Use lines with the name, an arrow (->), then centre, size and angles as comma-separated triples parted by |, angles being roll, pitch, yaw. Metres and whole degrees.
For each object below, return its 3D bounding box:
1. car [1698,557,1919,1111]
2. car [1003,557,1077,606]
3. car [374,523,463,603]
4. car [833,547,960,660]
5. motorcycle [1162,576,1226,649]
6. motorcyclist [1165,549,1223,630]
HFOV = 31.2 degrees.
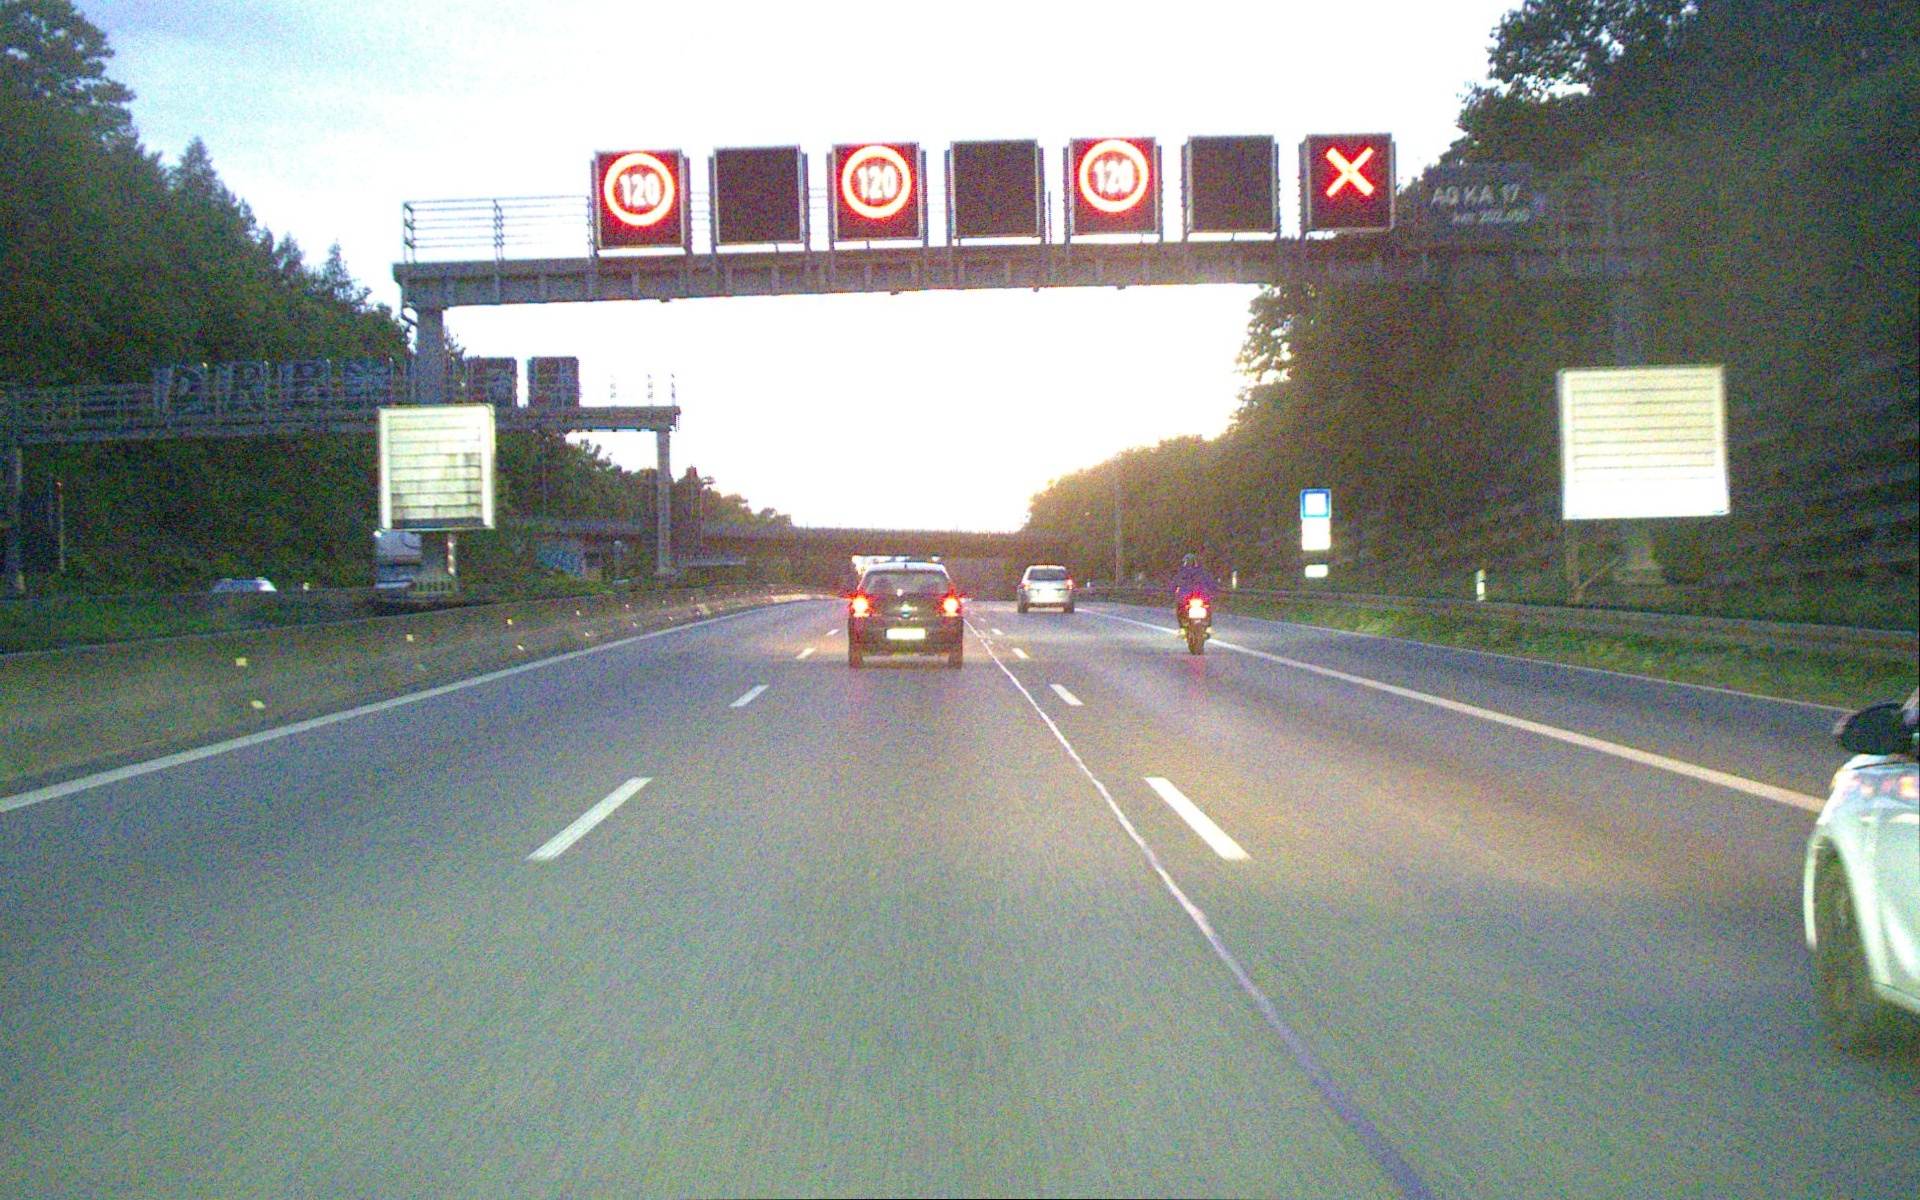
car -> 3.468, 0.624, 9.503 | 1.825, 1.470, 4.399 | 0, 1, -1
car -> 2.522, -0.585, 109.227 | 1.865, 1.489, 4.399 | 1, 0, -5
car -> -20.288, -1.375, 129.100 | 1.982, 2.871, 7.834 | -1, 0, 1
car -> -0.881, 0.047, 48.965 | 1.704, 1.504, 4.232 | 1, 0, 0
motorcycle -> 3.743, 0.192, 55.117 | 0.829, 1.130, 2.476 | 0, 1, -1
motorcyclist -> 3.742, -0.169, 55.046 | 0.829, 1.287, 1.190 | 0, 0, -1
